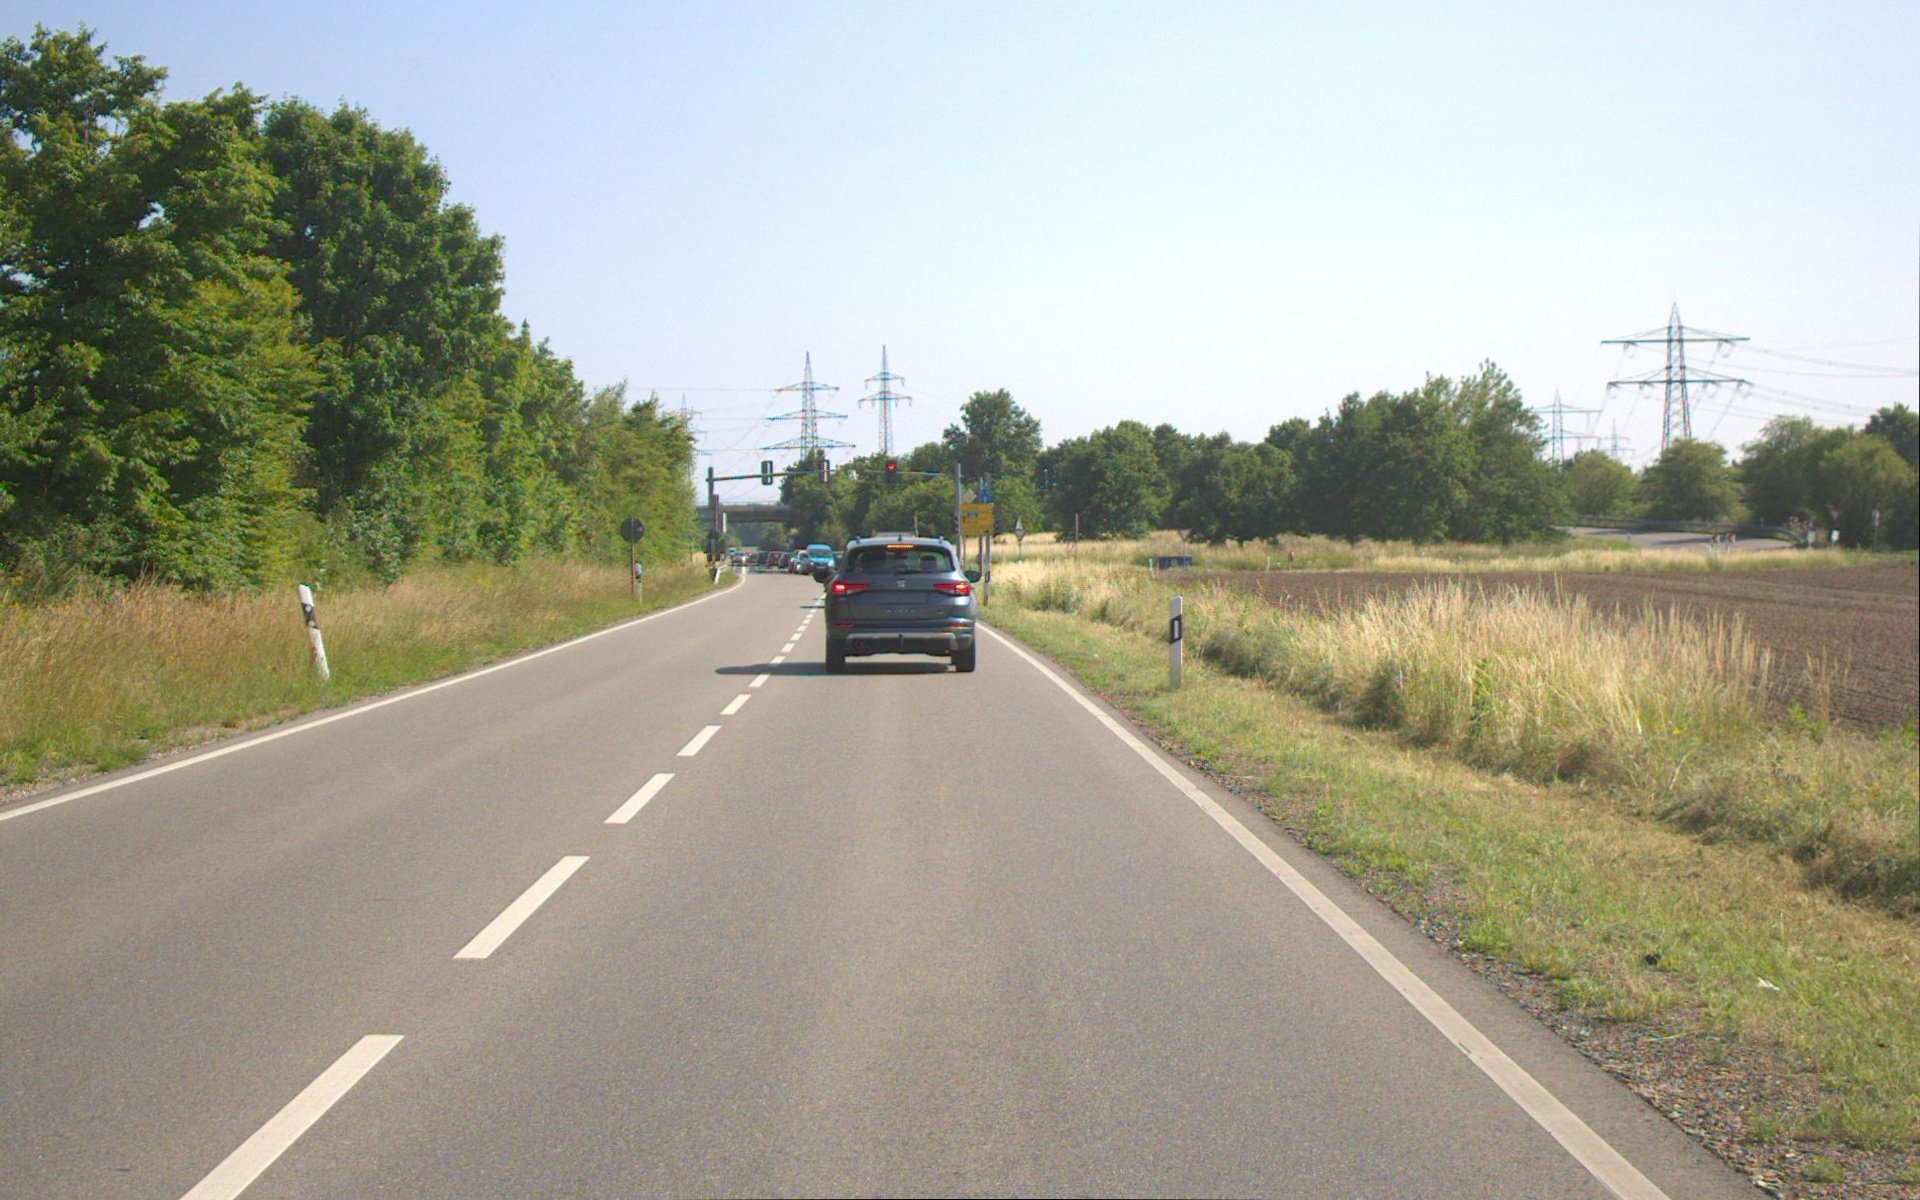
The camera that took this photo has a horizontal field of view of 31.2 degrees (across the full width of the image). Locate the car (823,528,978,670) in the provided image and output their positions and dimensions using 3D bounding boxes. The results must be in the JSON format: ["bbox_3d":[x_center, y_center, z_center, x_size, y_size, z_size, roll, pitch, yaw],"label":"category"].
[{"bbox_3d":[-0.746,-0.051,41.771,1.785,1.623,4.001,0,1,-2],"label":"car"}]

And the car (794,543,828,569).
[{"bbox_3d":[-9.082,-2.664,209.191,1.816,1.535,4.001,-1,1,-5],"label":"car"}]

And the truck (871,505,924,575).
[{"bbox_3d":[-2.802,-2.679,155.410,2.337,3.055,5.810,0,0,-1],"label":"truck"}]
